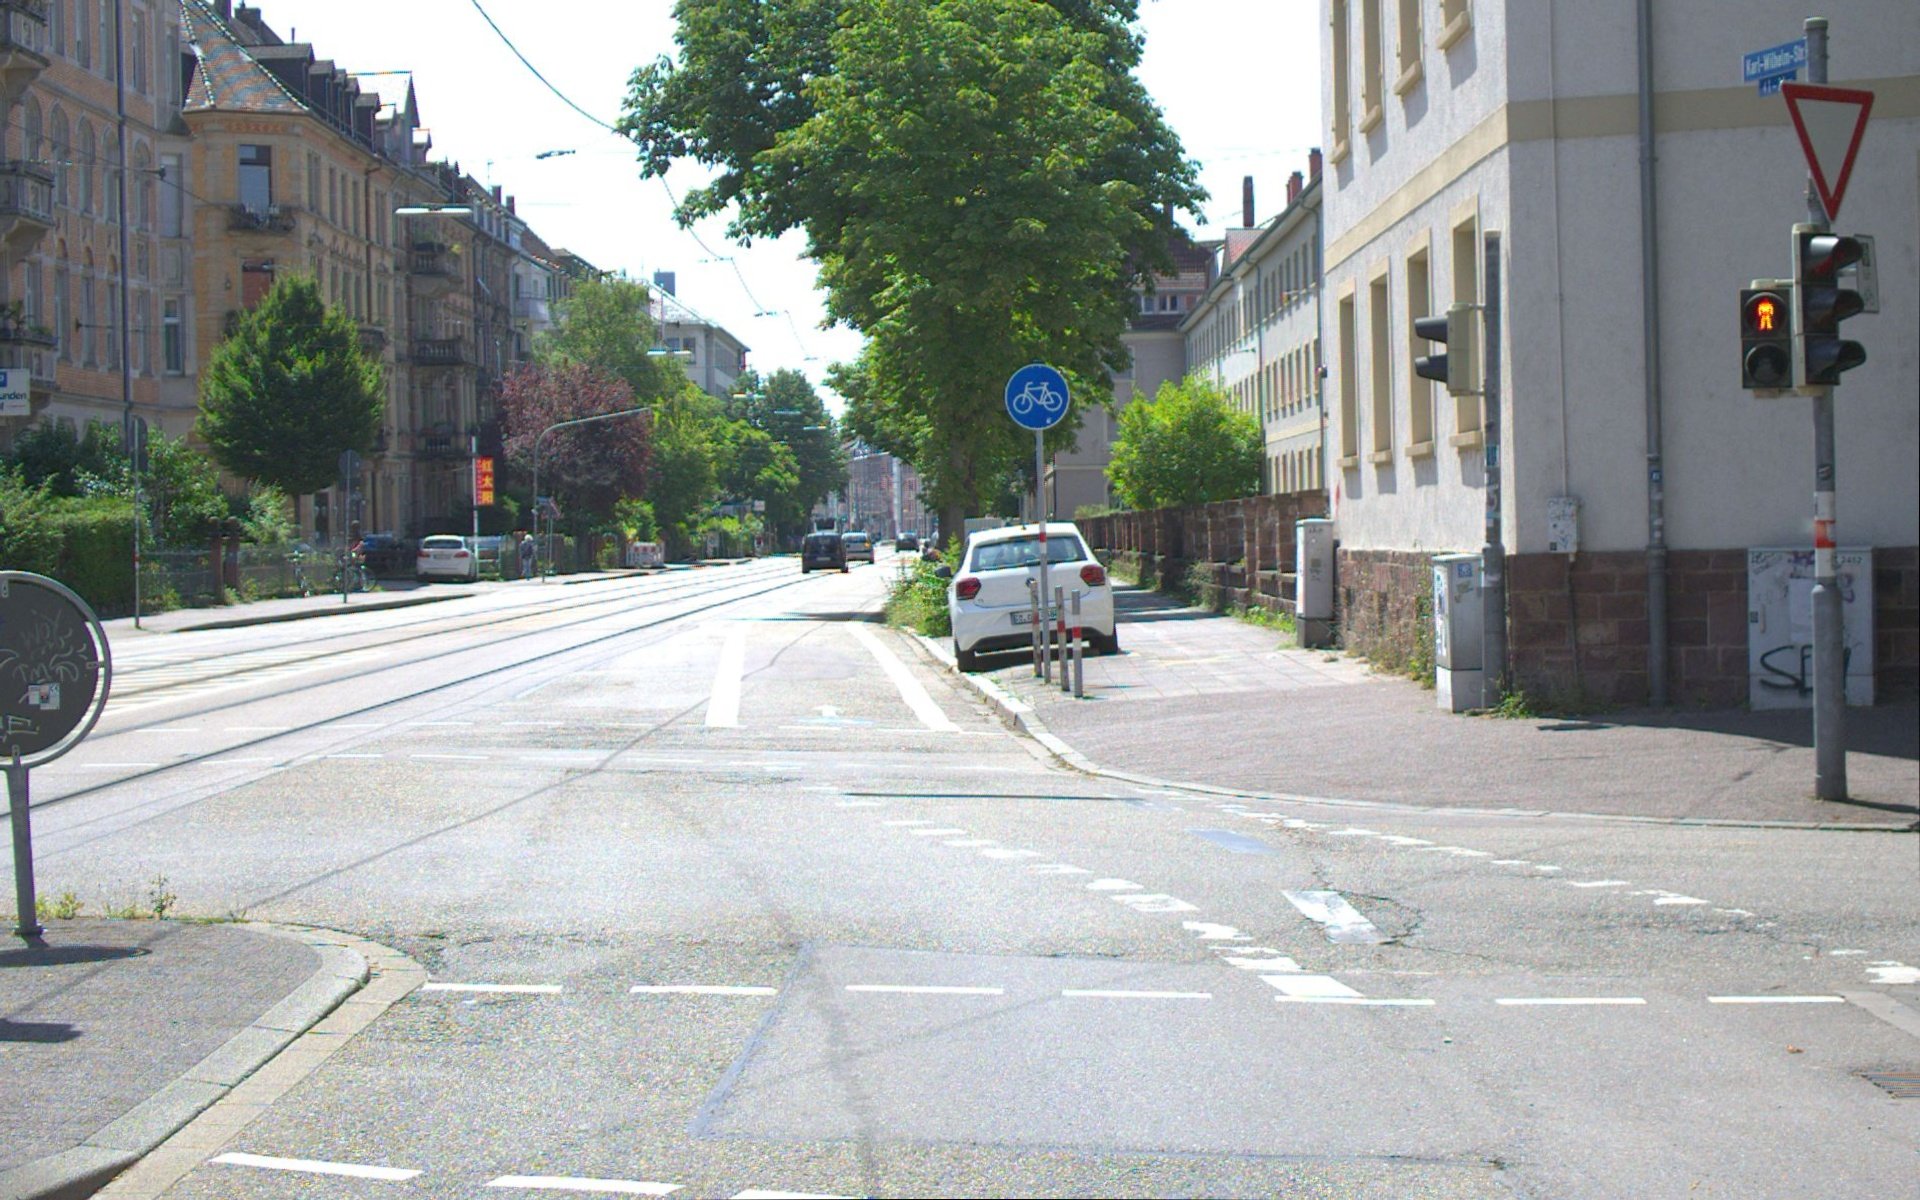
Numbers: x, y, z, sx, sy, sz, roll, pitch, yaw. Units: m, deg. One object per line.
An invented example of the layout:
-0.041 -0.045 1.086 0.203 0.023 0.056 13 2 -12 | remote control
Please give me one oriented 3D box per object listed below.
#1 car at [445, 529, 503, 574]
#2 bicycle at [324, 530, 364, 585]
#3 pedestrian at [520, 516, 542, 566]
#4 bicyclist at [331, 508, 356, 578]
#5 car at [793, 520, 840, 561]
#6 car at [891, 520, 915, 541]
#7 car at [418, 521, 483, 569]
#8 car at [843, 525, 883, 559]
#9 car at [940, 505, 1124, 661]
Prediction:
-17.505 -1.739 123.876 1.628 1.467 3.564 -4 1 -3 | car
-15.746 -1.088 87.911 0.577 1.383 2.501 0 1 0 | bicycle
-14.902 -2.036 119.308 0.678 1.721 0.677 0 1 -1 | pedestrian
-15.744 -1.455 87.854 0.542 1.757 0.498 0 1 -1 | bicyclist
-5.281 -2.184 126.864 1.525 1.439 3.365 -2 1 0 | car
-4.365 -5.307 261.481 1.628 1.467 3.564 -4 1 -3 | car
-17.115 -1.846 115.652 1.684 1.467 3.939 -4 1 -3 | car
-4.632 -2.778 164.134 1.747 1.467 3.938 -4 1 -1 | car
0.728 -0.203 37.152 1.747 1.467 3.938 -4 1 -1 | car
